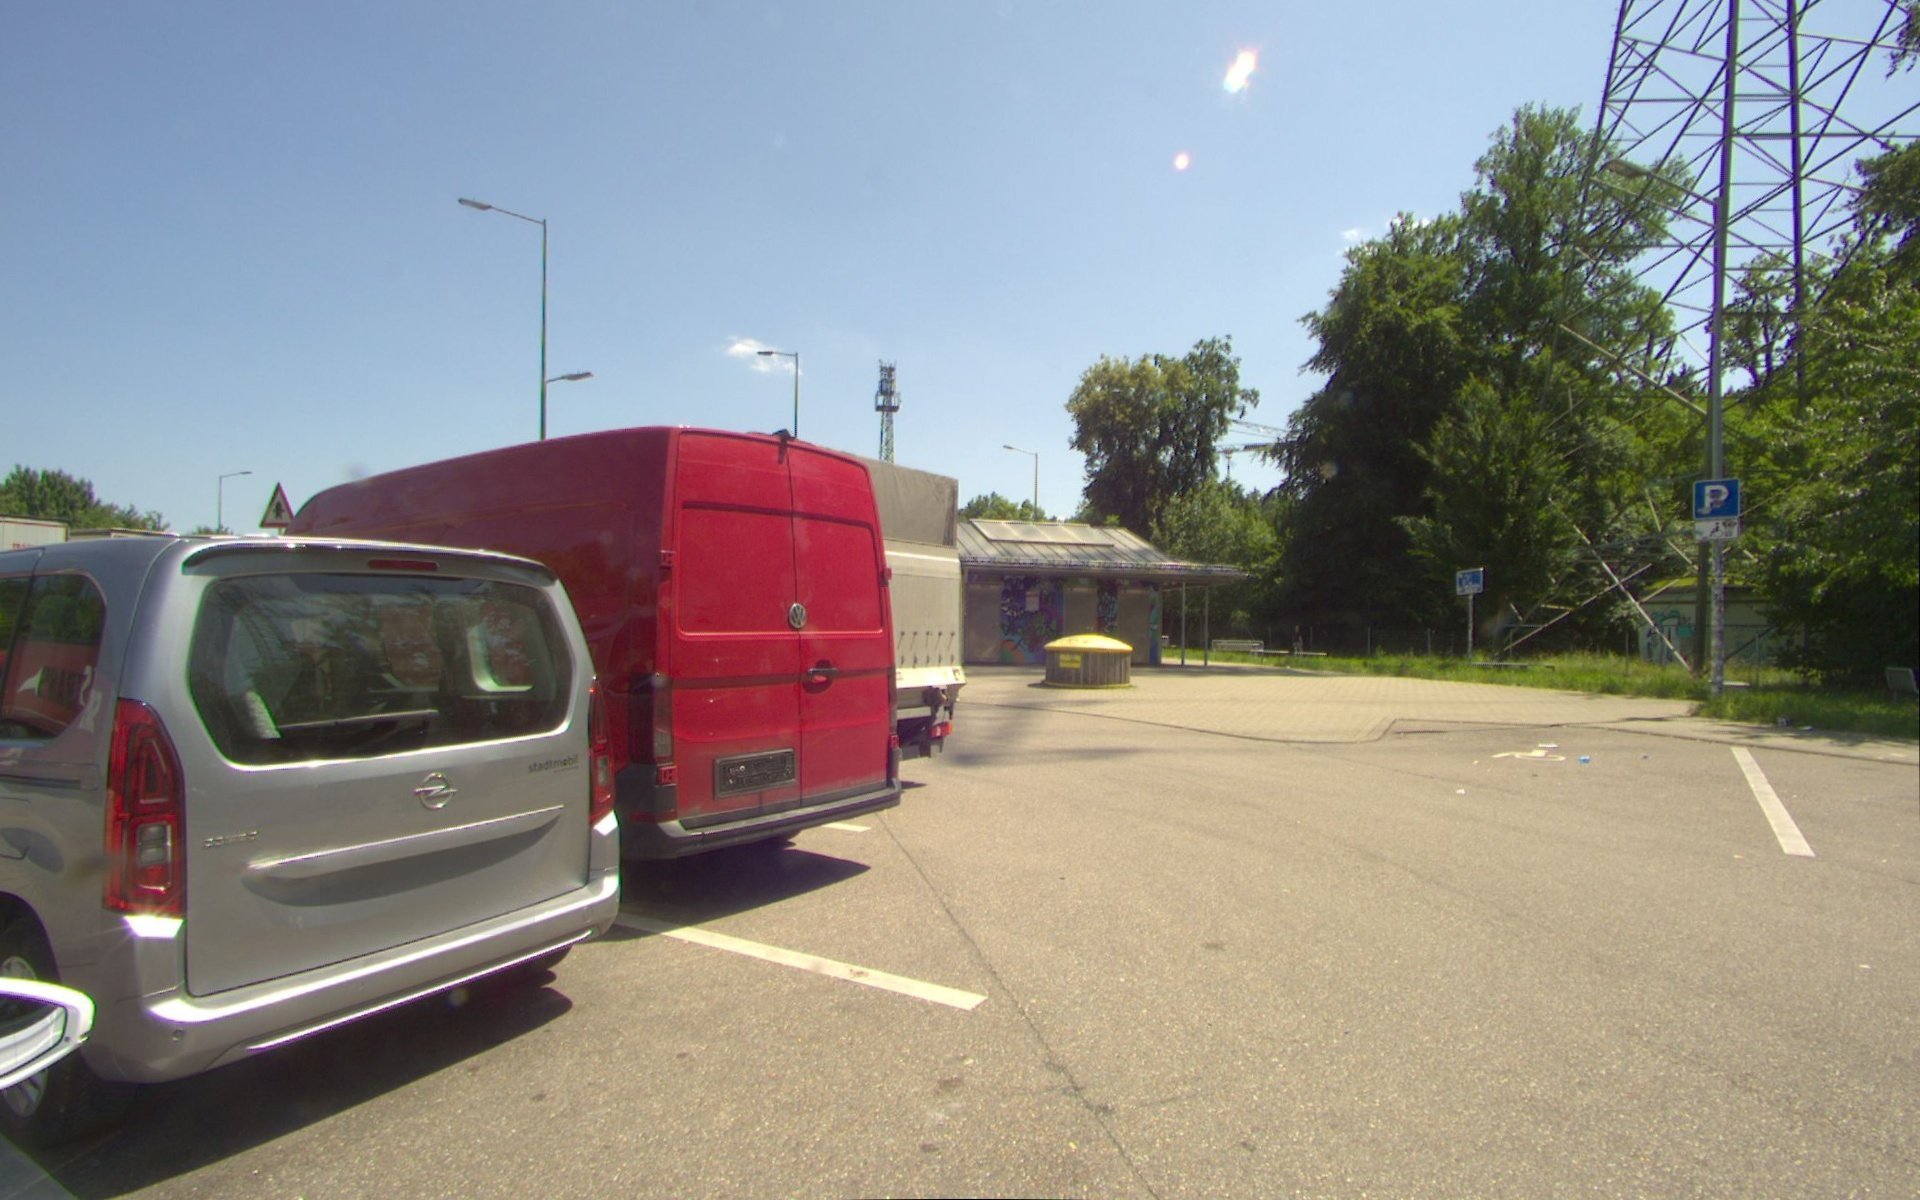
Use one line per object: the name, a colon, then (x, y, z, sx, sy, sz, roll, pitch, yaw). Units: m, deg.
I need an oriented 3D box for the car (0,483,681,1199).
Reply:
car: (-3.388, 0.688, 4.268, 4.113, 1.887, 1.868, 1, -2, 31)

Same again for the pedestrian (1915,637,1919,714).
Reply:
pedestrian: (17.251, 1.326, 17.497, 0.690, 1.352, 0.561, -1, -1, 33)

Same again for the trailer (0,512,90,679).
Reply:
trailer: (-29.023, -0.262, 28.161, 14.184, 4.040, 2.808, 2, -2, 33)

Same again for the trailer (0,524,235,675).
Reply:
trailer: (-27.959, -0.104, 31.807, 14.184, 4.040, 2.808, 2, -2, 33)

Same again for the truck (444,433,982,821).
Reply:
truck: (-2.744, 0.306, 10.307, 5.581, 2.949, 2.449, -2, -2, 37)

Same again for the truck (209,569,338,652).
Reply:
truck: (-32.100, 0.464, 46.779, 5.813, 3.566, 2.799, 2, -2, 33)

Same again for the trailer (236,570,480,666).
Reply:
trailer: (-26.106, 0.644, 42.922, 14.184, 3.552, 2.808, 2, -2, 33)

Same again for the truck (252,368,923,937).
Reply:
truck: (-2.895, 0.338, 7.068, 5.238, 2.655, 1.972, -2, -2, 38)

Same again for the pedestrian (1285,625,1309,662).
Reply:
pedestrian: (15.446, 1.982, 45.924, 0.723, 1.658, 0.792, 0, -1, -9)
